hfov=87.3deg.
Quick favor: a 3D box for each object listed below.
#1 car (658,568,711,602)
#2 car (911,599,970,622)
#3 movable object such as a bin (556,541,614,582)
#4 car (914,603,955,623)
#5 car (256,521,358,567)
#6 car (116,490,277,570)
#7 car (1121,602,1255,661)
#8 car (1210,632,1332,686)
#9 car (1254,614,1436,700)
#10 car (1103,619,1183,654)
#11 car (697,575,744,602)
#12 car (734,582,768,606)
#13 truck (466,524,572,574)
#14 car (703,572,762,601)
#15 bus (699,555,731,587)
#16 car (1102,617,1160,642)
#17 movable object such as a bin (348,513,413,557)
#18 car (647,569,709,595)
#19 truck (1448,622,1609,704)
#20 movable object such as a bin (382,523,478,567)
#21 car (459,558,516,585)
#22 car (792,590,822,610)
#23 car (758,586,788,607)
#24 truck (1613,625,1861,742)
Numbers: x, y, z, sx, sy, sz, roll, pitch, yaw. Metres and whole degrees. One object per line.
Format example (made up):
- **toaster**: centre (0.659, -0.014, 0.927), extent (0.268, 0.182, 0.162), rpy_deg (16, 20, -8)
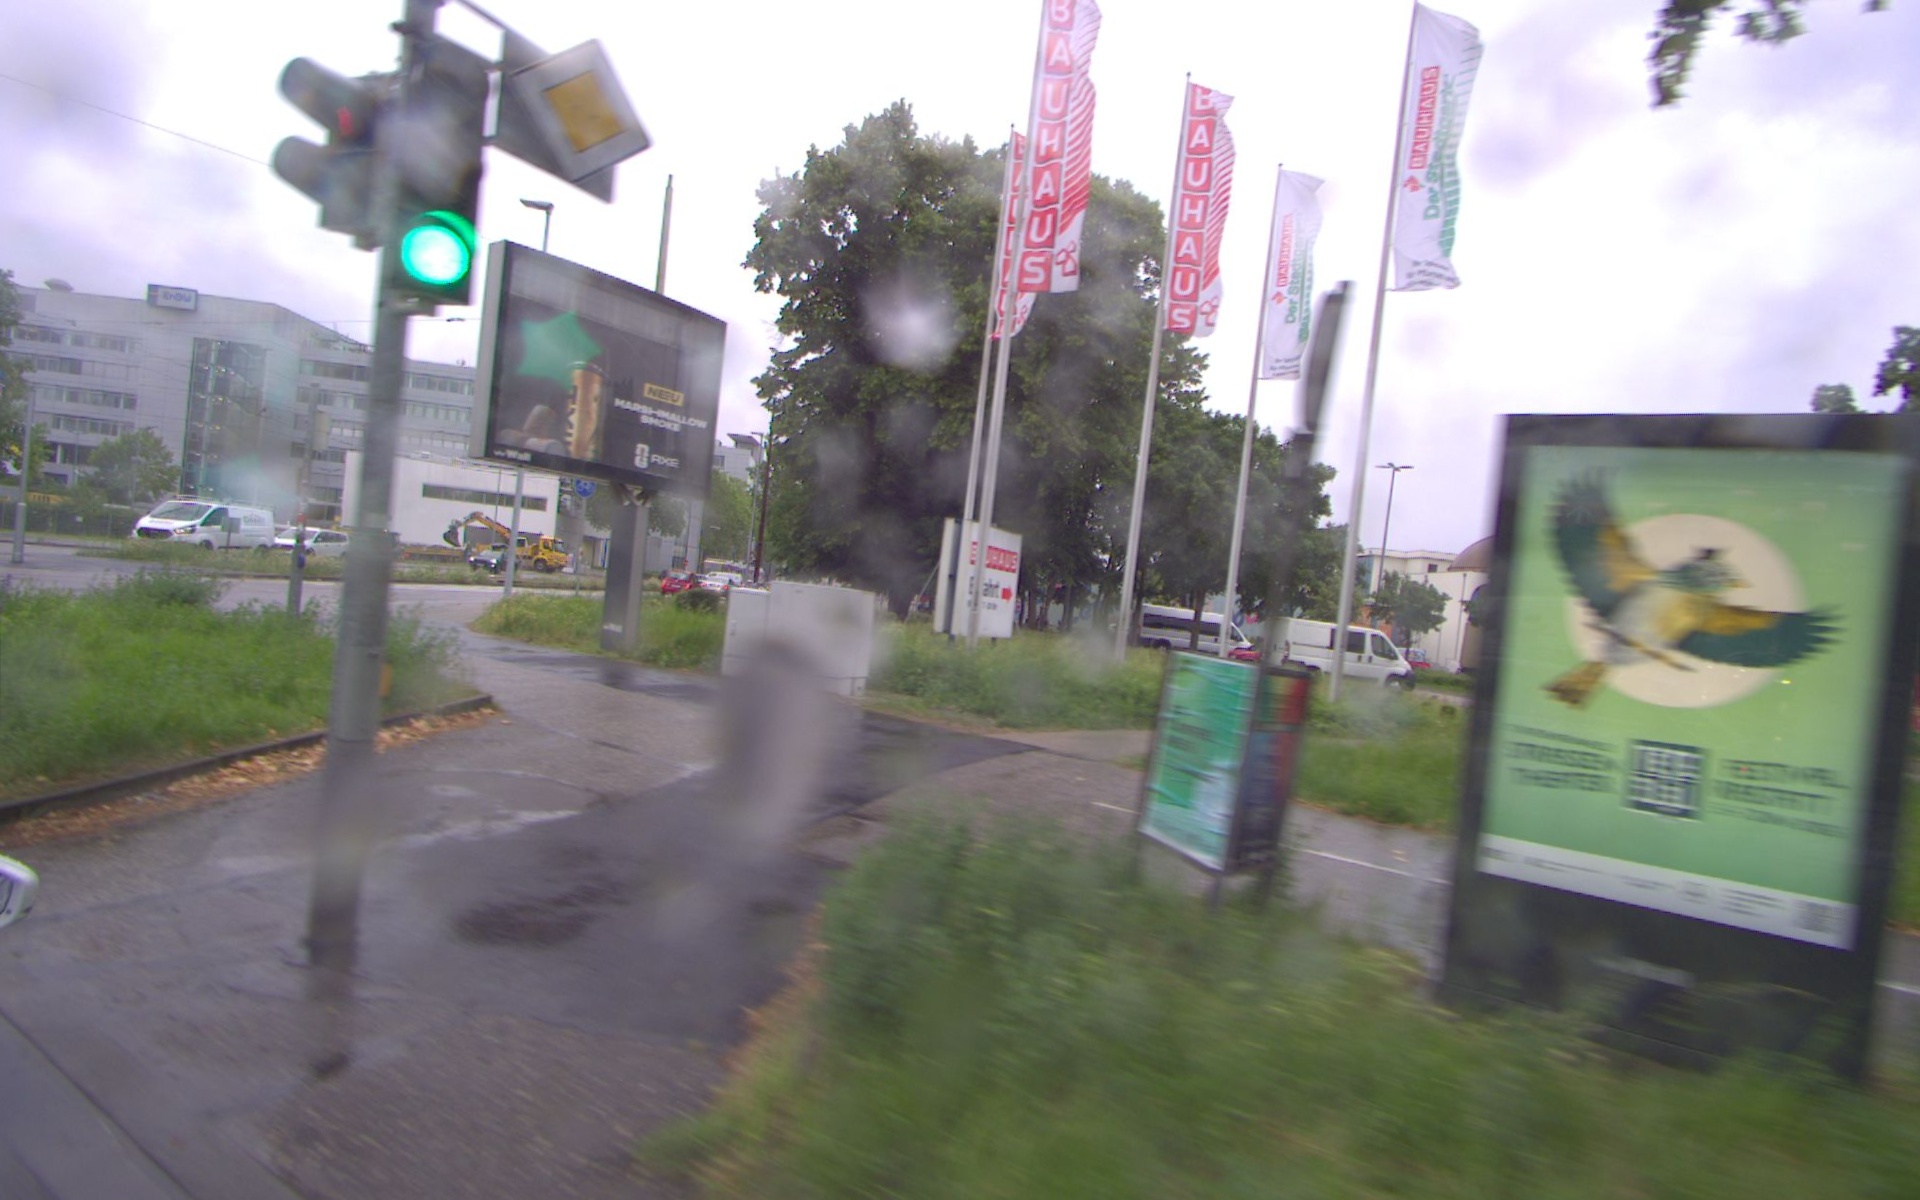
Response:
- **car**: centre (-15.137, -0.786, 55.365), extent (1.647, 1.508, 3.819), rpy_deg (7, -1, 1)
- **car**: centre (-2.061, 1.076, 103.649), extent (5.852, 1.753, 2.276), rpy_deg (6, 0, -2)
- **movable object such as a bin**: centre (-36.932, -3.736, 99.253), extent (3.267, 3.551, 6.318), rpy_deg (6, 0, -2)
- **car**: centre (-2.518, 1.308, 98.956), extent (3.748, 1.508, 1.678), rpy_deg (7, -1, -4)
- **car**: centre (-29.565, -2.474, 45.709), extent (1.743, 1.641, 4.381), rpy_deg (6, 0, -1)
- **car**: centre (-25.585, -2.278, 33.966), extent (1.964, 2.151, 4.686), rpy_deg (6, 0, -4)
- **car**: centre (11.288, 1.530, 50.012), extent (5.954, 2.232, 2.191), rpy_deg (6, 1, -2)
- **car**: centre (12.090, 2.283, 39.215), extent (3.931, 1.616, 1.997), rpy_deg (6, 0, -8)
- **car**: centre (12.664, 1.847, 33.274), extent (5.014, 2.231, 2.189), rpy_deg (6, 0, -8)
- **car**: centre (12.555, 2.497, 69.260), extent (4.942, 1.859, 2.191), rpy_deg (6, 0, -2)
- **car**: centre (-15.801, -0.737, 66.513), extent (1.892, 1.509, 4.829), rpy_deg (6, -1, -1)
- **car**: centre (-16.528, -0.467, 79.708), extent (1.892, 1.605, 4.624), rpy_deg (6, -1, -4)
- **truck**: centre (-39.544, -4.519, 90.474), extent (7.745, 3.552, 3.326), rpy_deg (6, 1, -3)
- **car**: centre (-22.114, -1.295, 97.807), extent (5.284, 2.036, 1.995), rpy_deg (8, -2, -17)
- **bus**: centre (-26.348, -3.096, 108.460), extent (2.485, 3.074, 8.514), rpy_deg (5, 0, -10)
- **car**: centre (15.892, 2.757, 93.665), extent (4.942, 1.753, 1.965), rpy_deg (6, 0, -2)
- **movable object such as a bin**: centre (-47.085, -5.274, 81.827), extent (3.271, 3.034, 3.326), rpy_deg (6, 1, -3)
- **car**: centre (-25.745, -1.621, 91.841), extent (4.966, 1.673, 1.883), rpy_deg (7, -2, 1)
- **truck**: centre (29.247, 3.104, 52.426), extent (2.506, 3.511, 9.400), rpy_deg (7, -1, -1)
- **movable object such as a bin**: centre (-47.466, -4.922, 90.263), extent (6.599, 3.034, 3.326), rpy_deg (6, 1, -4)
- **car**: centre (-32.115, -1.904, 68.502), extent (1.767, 1.543, 4.643), rpy_deg (6, 0, -3)
- **car**: centre (-13.546, 0.003, 89.358), extent (1.892, 1.509, 4.829), rpy_deg (6, -1, -1)
- **car**: centre (-16.882, -0.303, 91.196), extent (1.892, 1.606, 4.623), rpy_deg (6, 0, -3)
- **truck**: centre (29.251, 2.957, 38.509), extent (2.507, 3.512, 8.011), rpy_deg (7, 0, -3)
